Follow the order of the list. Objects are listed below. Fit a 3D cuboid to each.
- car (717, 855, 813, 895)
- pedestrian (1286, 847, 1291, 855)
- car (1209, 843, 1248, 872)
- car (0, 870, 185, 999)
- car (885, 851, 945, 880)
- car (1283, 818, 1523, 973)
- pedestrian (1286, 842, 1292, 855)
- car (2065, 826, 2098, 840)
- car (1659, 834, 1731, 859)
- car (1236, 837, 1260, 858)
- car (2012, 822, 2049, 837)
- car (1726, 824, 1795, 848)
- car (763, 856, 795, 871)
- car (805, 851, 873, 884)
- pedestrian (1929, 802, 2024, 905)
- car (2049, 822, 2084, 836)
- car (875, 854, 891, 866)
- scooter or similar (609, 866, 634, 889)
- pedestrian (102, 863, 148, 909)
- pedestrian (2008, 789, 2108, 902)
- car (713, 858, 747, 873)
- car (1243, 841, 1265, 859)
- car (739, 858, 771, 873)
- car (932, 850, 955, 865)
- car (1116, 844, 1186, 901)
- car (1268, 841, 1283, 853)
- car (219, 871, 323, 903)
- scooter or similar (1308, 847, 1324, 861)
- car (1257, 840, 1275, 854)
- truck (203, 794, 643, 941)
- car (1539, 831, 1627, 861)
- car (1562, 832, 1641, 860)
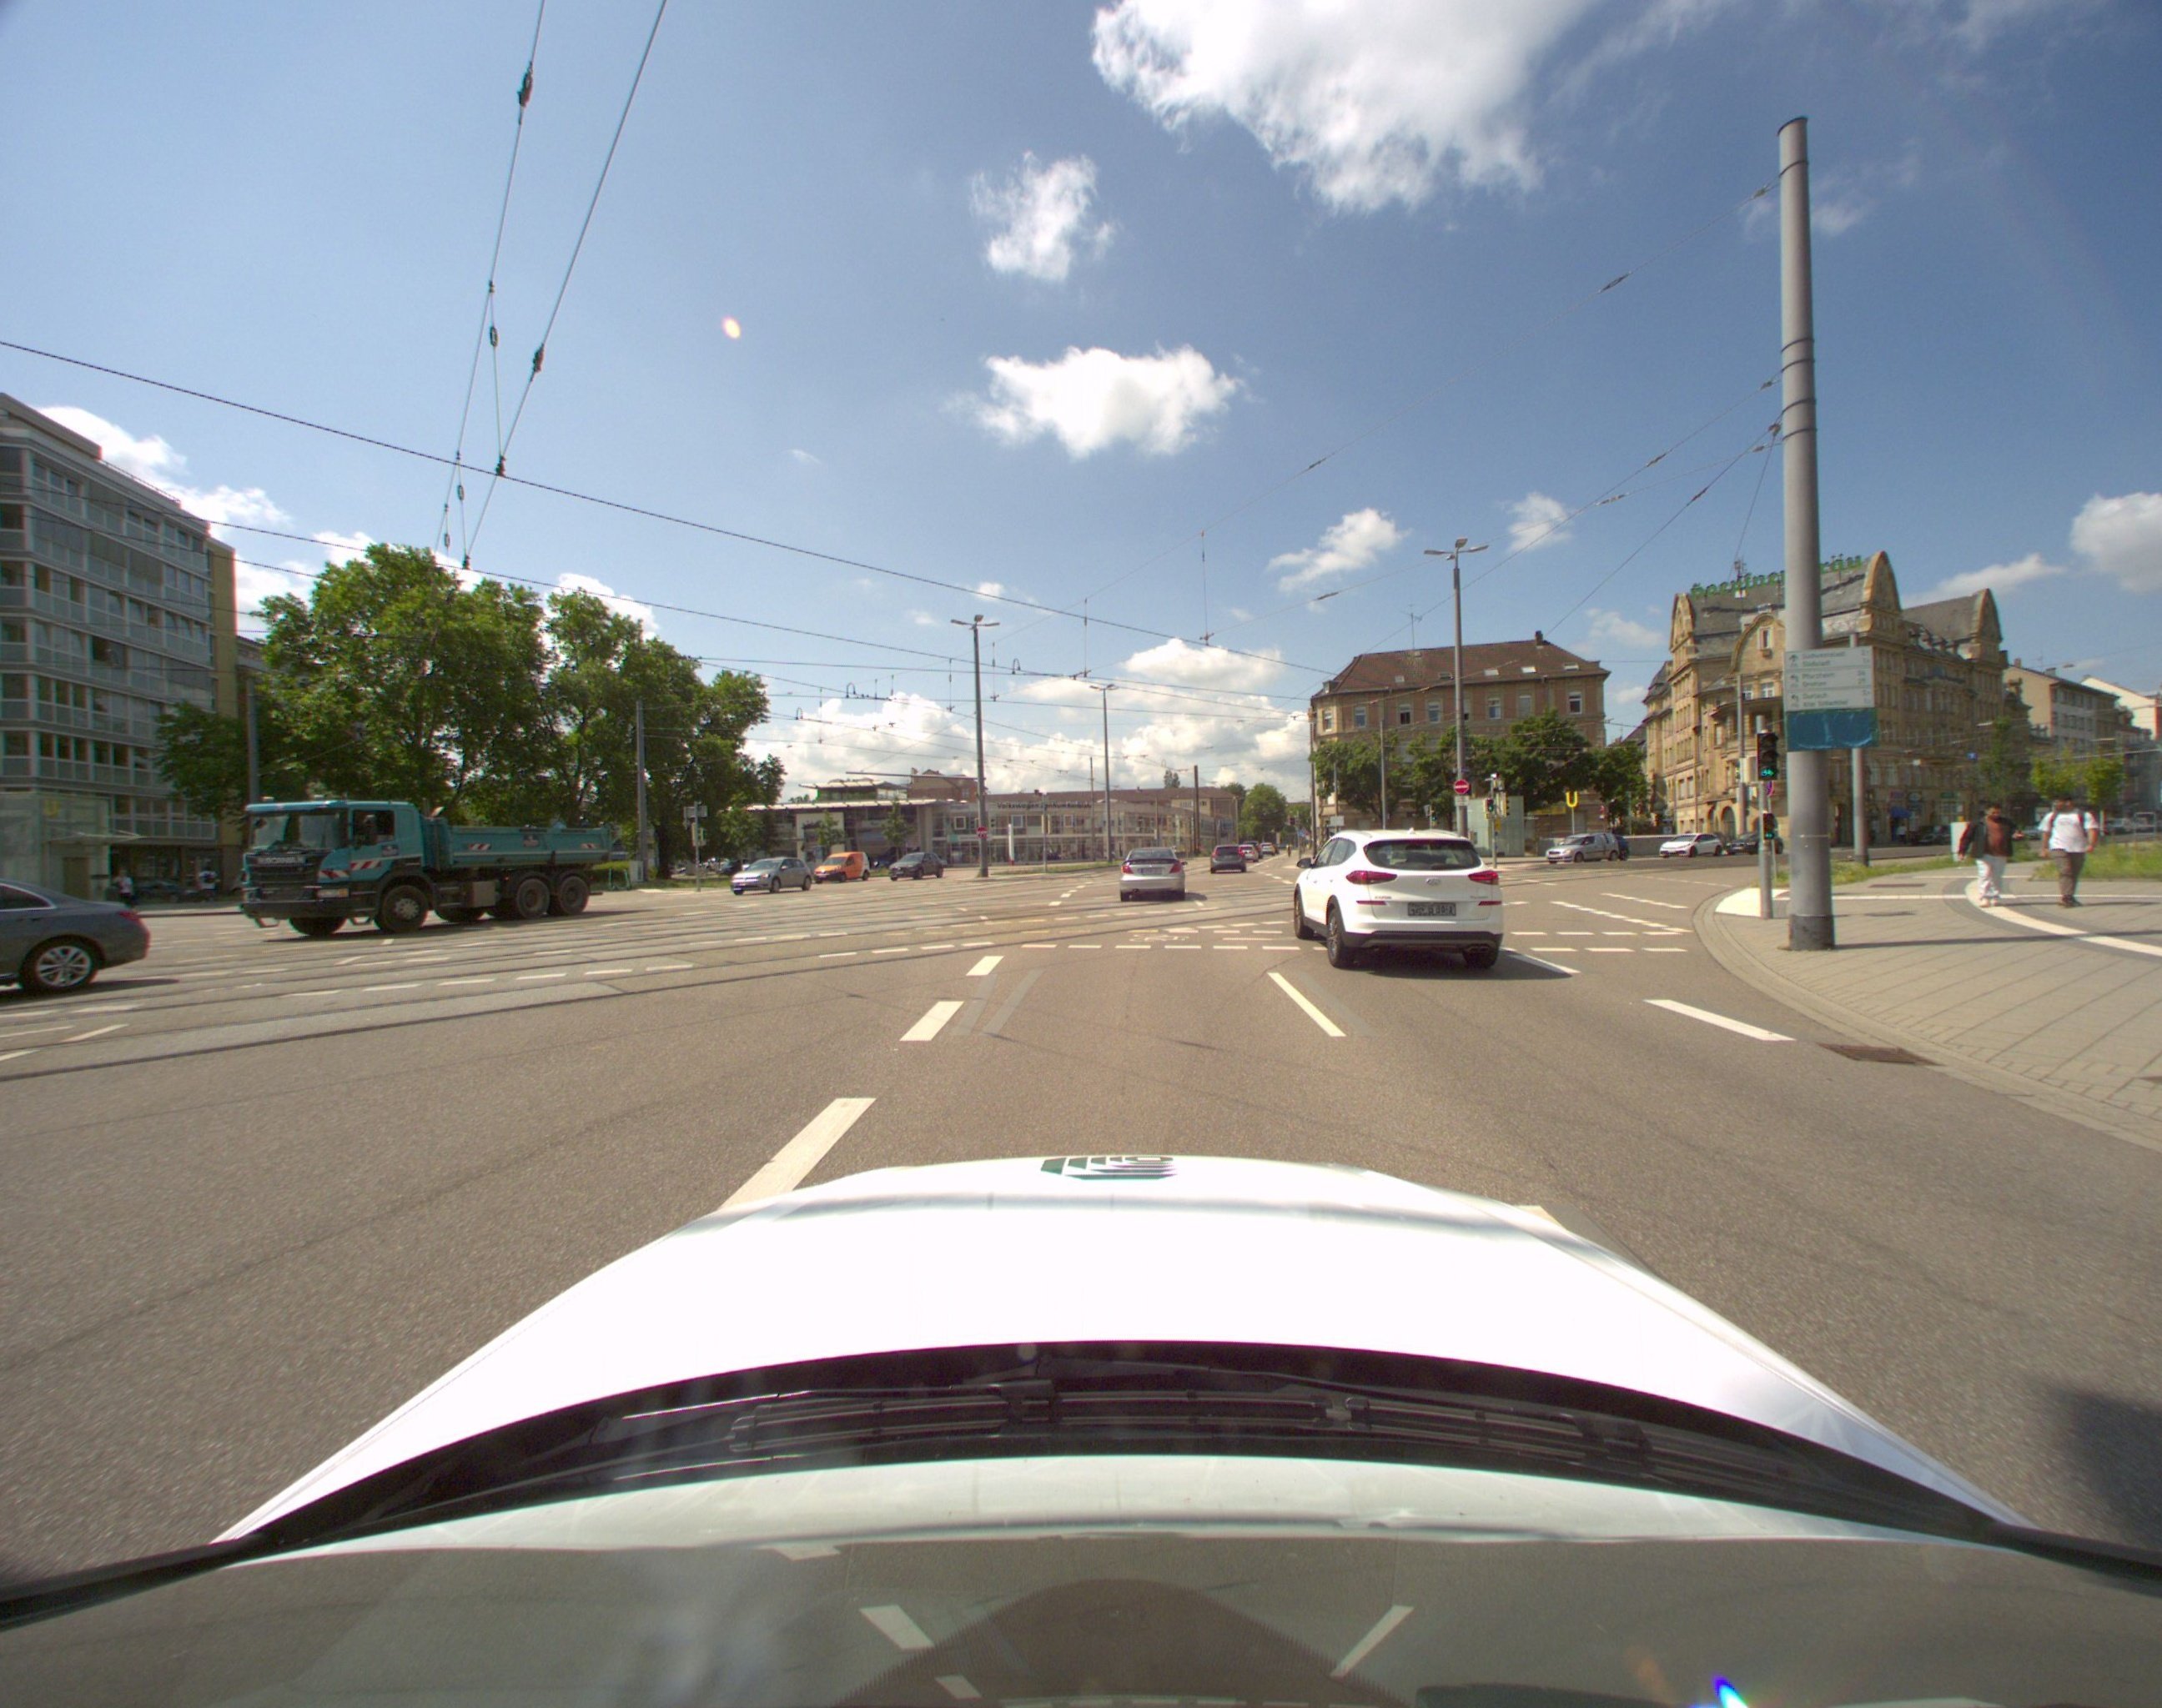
[{"bbox_3d":[-12.781,0.815,33.258,1.643,1.433,4.283,-2,0,9],"label":"car"},{"bbox_3d":[23.746,-0.365,93.240,0.520,0.906,1.567,-1,-1,15],"label":"pedestrian"},{"bbox_3d":[7.589,0.156,42.191,1.870,1.419,3.967,-1,0,9],"label":"car"},{"bbox_3d":[-12.966,0.948,8.497,1.645,1.391,4.782,-2,0,5],"label":"car"},{"bbox_3d":[-9.547,0.610,47.139,1.705,1.531,4.138,-2,0,15],"label":"car"},{"bbox_3d":[4.003,0.434,10.935,1.872,1.641,4.239,-1,0,5],"label":"car"},{"bbox_3d":[23.797,-0.654,93.262,0.687,1.457,0.682,-1,-1,15],"label":"pedestrian"},{"bbox_3d":[112.021,-2.323,91.175,4.152,1.473,1.707,-2,0,-30],"label":"car"},{"bbox_3d":[38.650,-0.471,51.264,4.143,1.473,1.711,-2,0,-22],"label":"car"},{"bbox_3d":[13.877,-0.512,67.656,1.868,1.641,3.971,-1,0,13],"label":"car"},{"bbox_3d":[96.013,-2.478,82.325,4.152,1.473,1.707,-2,0,-30],"label":"car"},{"bbox_3d":[45.239,-1.207,54.207,4.140,1.473,1.712,-2,0,-20],"label":"car"},{"bbox_3d":[-33.057,1.073,89.264,1.989,1.574,4.174,-1,-1,-3],"label":"car"},{"bbox_3d":[-14.486,0.757,49.086,1.706,1.800,4.757,-2,0,13],"label":"car"},{"bbox_3d":[15.161,-0.001,13.798,0.971,1.657,0.855,-3,-1,-33],"label":"pedestrian"},{"bbox_3d":[106.383,-2.704,87.938,4.152,1.473,1.707,-2,0,-30],"label":"car"},{"bbox_3d":[-21.459,0.645,88.254,1.650,1.250,3.981,0,-1,-14],"label":"car"},{"bbox_3d":[-22.972,1.182,40.708,0.375,1.115,1.100,-1,-1,19],"label":"scooter or similar"},{"bbox_3d":[-34.806,1.151,29.661,0.868,1.633,1.014,0,-2,-37],"label":"pedestrian"},{"bbox_3d":[15.729,-0.126,13.124,0.760,1.751,0.855,-3,-1,-33],"label":"pedestrian"},{"bbox_3d":[-38.446,1.262,89.262,1.989,1.574,4.174,-1,-1,-3],"label":"car"},{"bbox_3d":[17.136,-0.403,80.716,1.867,1.641,3.973,-1,0,15],"label":"car"},{"bbox_3d":[-35.791,1.238,89.453,1.989,1.574,4.174,-1,-1,-3],"label":"car"},{"bbox_3d":[-15.099,0.423,89.770,1.989,1.574,3.996,-1,-1,-3],"label":"car"},{"bbox_3d":[1.977,0.454,22.533,1.732,1.391,4.187,-1,0,6],"label":"car"},{"bbox_3d":[27.718,-0.940,116.240,1.867,1.641,3.974,-1,0,16],"label":"car"},{"bbox_3d":[-50.144,2.038,50.503,4.106,1.858,1.973,0,-1,-16],"label":"car"},{"bbox_3d":[19.884,0.035,68.910,1.528,1.174,0.378,0,-2,-37],"label":"scooter or similar"},{"bbox_3d":[23.009,-0.833,101.236,1.867,1.641,3.974,-1,0,16],"label":"car"},{"bbox_3d":[-15.481,0.241,20.538,2.867,2.852,8.818,-2,0,10],"label":"truck"},{"bbox_3d":[26.240,-0.420,42.575,4.140,1.473,1.712,-2,0,-20],"label":"car"},{"bbox_3d":[30.383,-0.460,47.569,4.140,1.473,1.712,-2,0,-20],"label":"car"}]
